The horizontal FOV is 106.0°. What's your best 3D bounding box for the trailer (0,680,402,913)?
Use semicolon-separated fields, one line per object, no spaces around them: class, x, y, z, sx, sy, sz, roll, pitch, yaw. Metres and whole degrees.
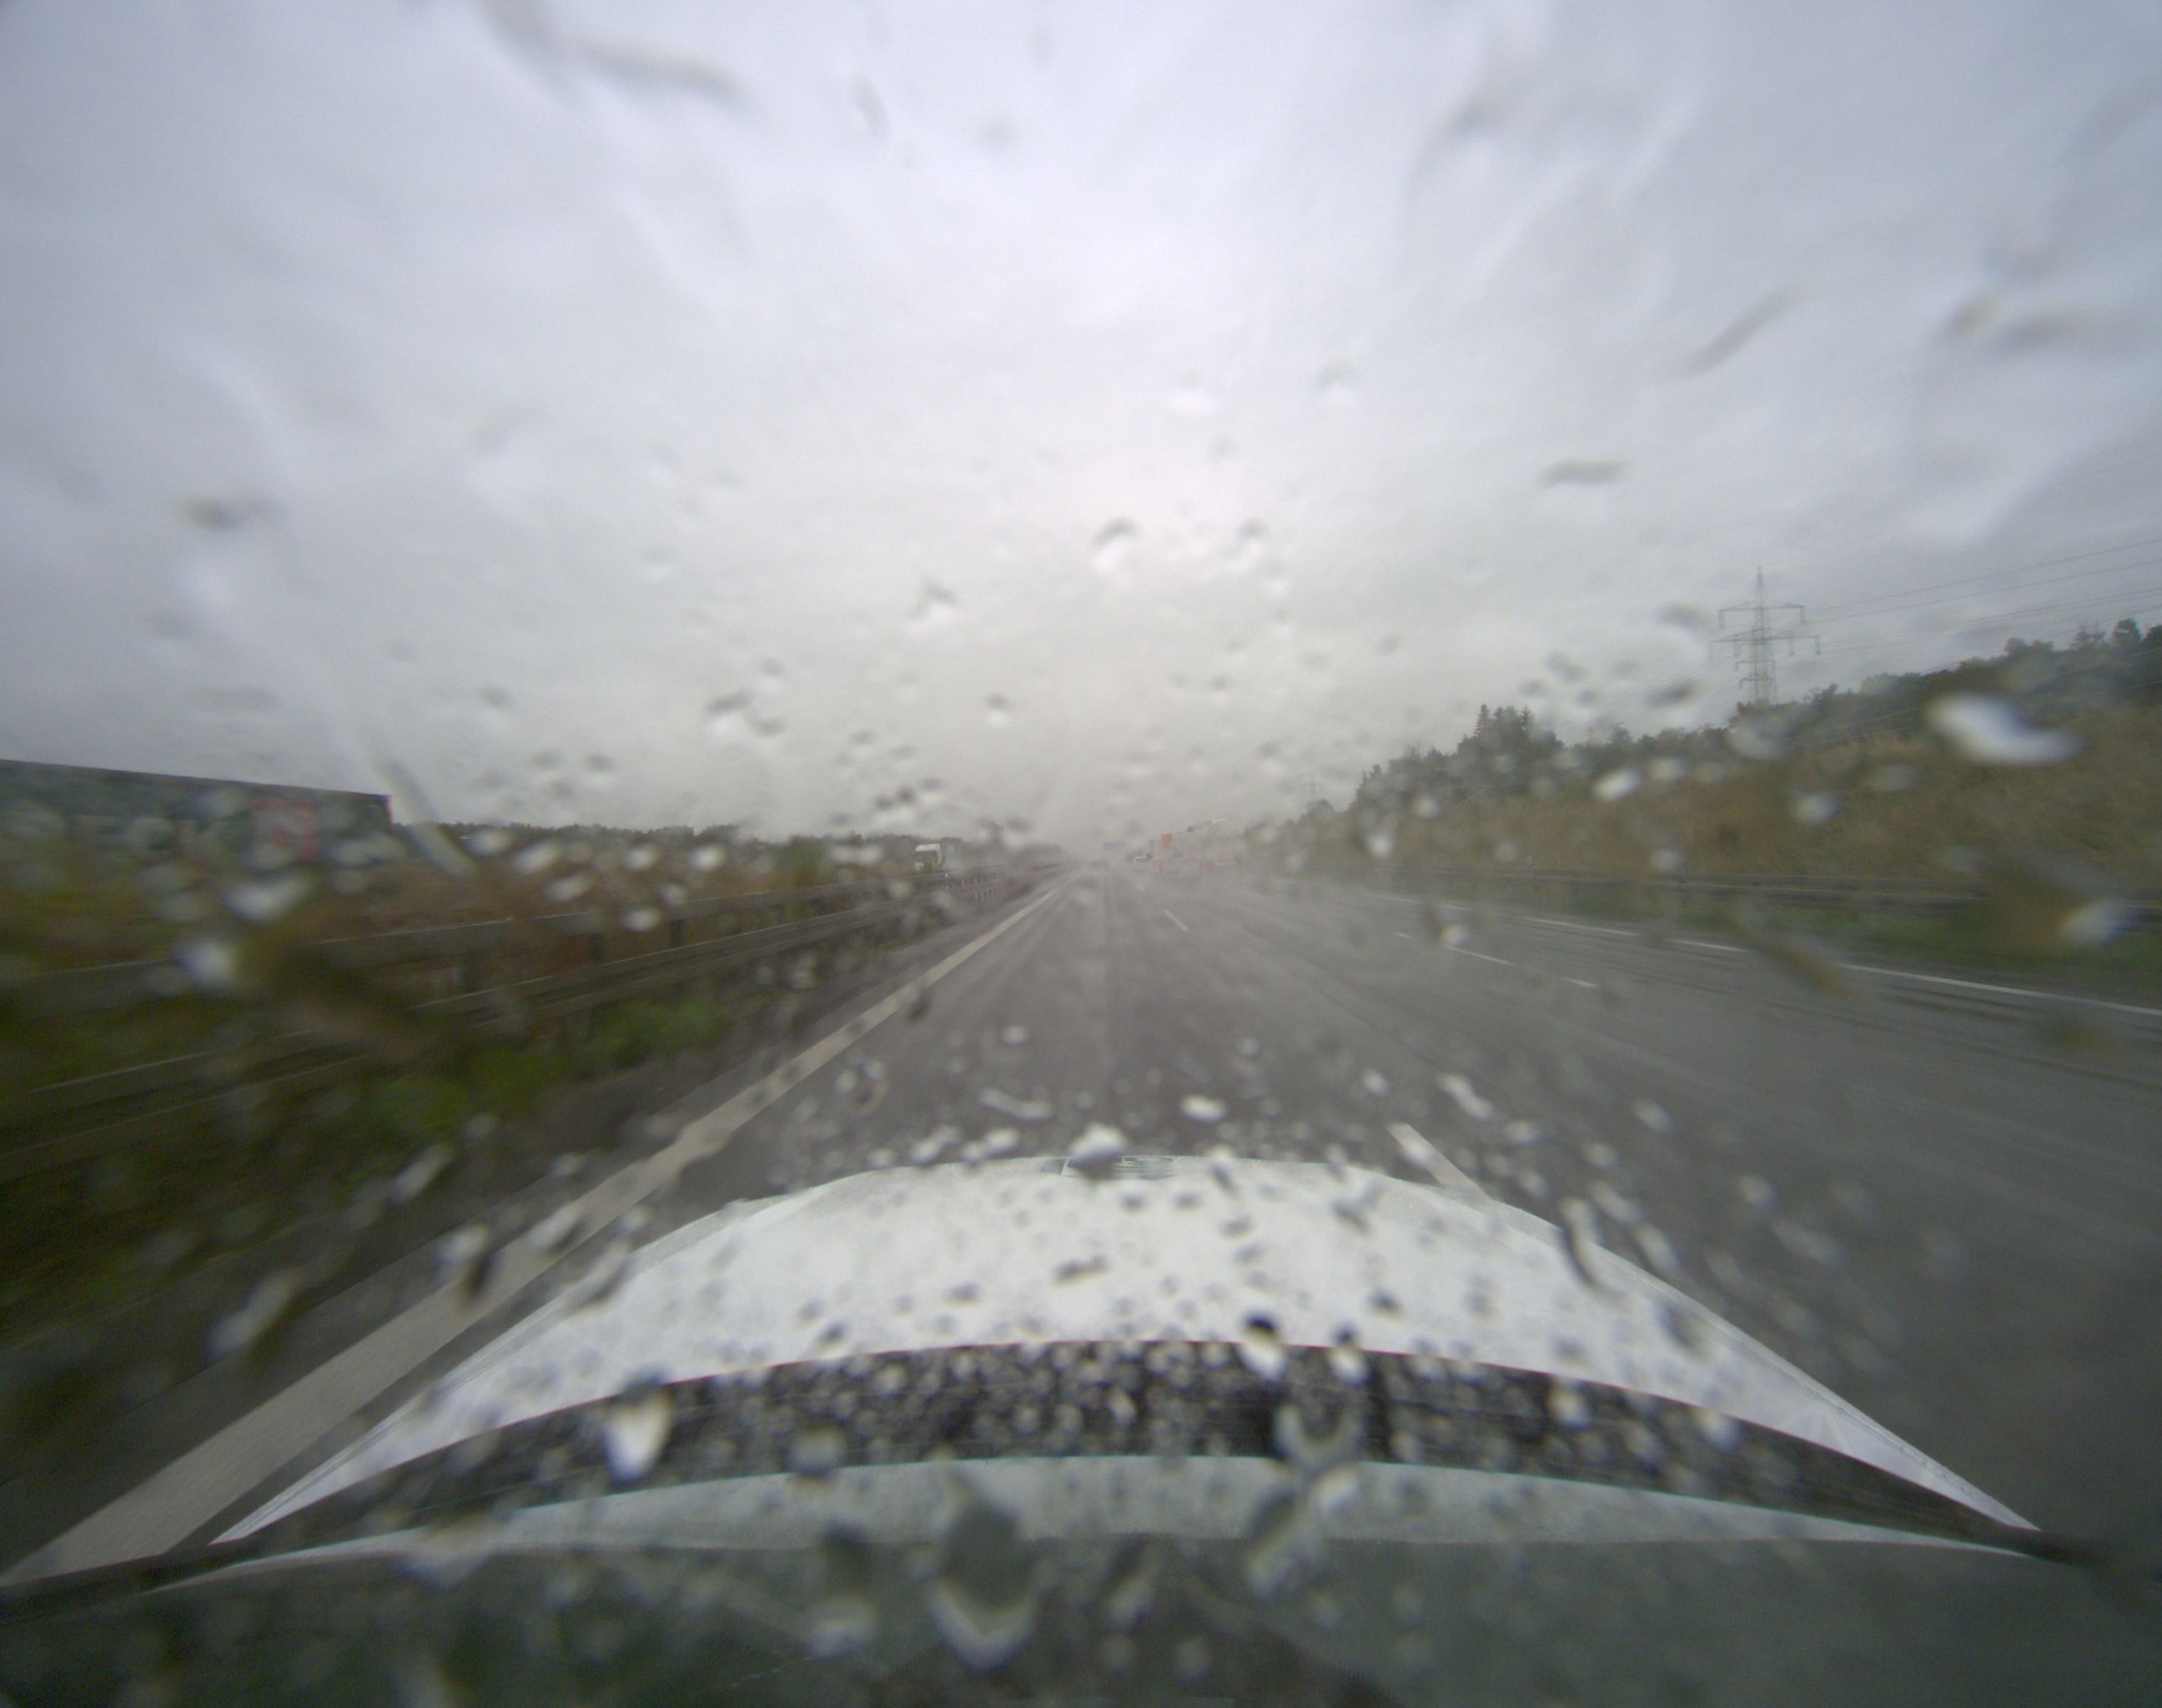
trailer;-18.781;-0.921;14.107;2.287;3.804;13.617;-1;0;2

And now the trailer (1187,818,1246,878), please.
trailer;9.509;-0.361;58.401;2.488;3.882;11.067;-1;0;1

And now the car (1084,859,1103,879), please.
car;1.191;1.370;76.293;1.695;1.818;3.863;-1;0;2

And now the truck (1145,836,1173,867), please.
truck;12.247;-0.236;130.072;3.029;4.588;16.348;-1;-1;1

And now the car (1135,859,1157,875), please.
car;5.326;1.053;67.100;1.600;1.338;3.849;-1;0;1

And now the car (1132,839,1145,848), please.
car;13.366;-2.393;190.481;2.778;2.014;4.993;-1;0;1

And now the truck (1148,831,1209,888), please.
truck;4.546;0.241;38.759;2.410;2.492;5.562;-1;0;2
